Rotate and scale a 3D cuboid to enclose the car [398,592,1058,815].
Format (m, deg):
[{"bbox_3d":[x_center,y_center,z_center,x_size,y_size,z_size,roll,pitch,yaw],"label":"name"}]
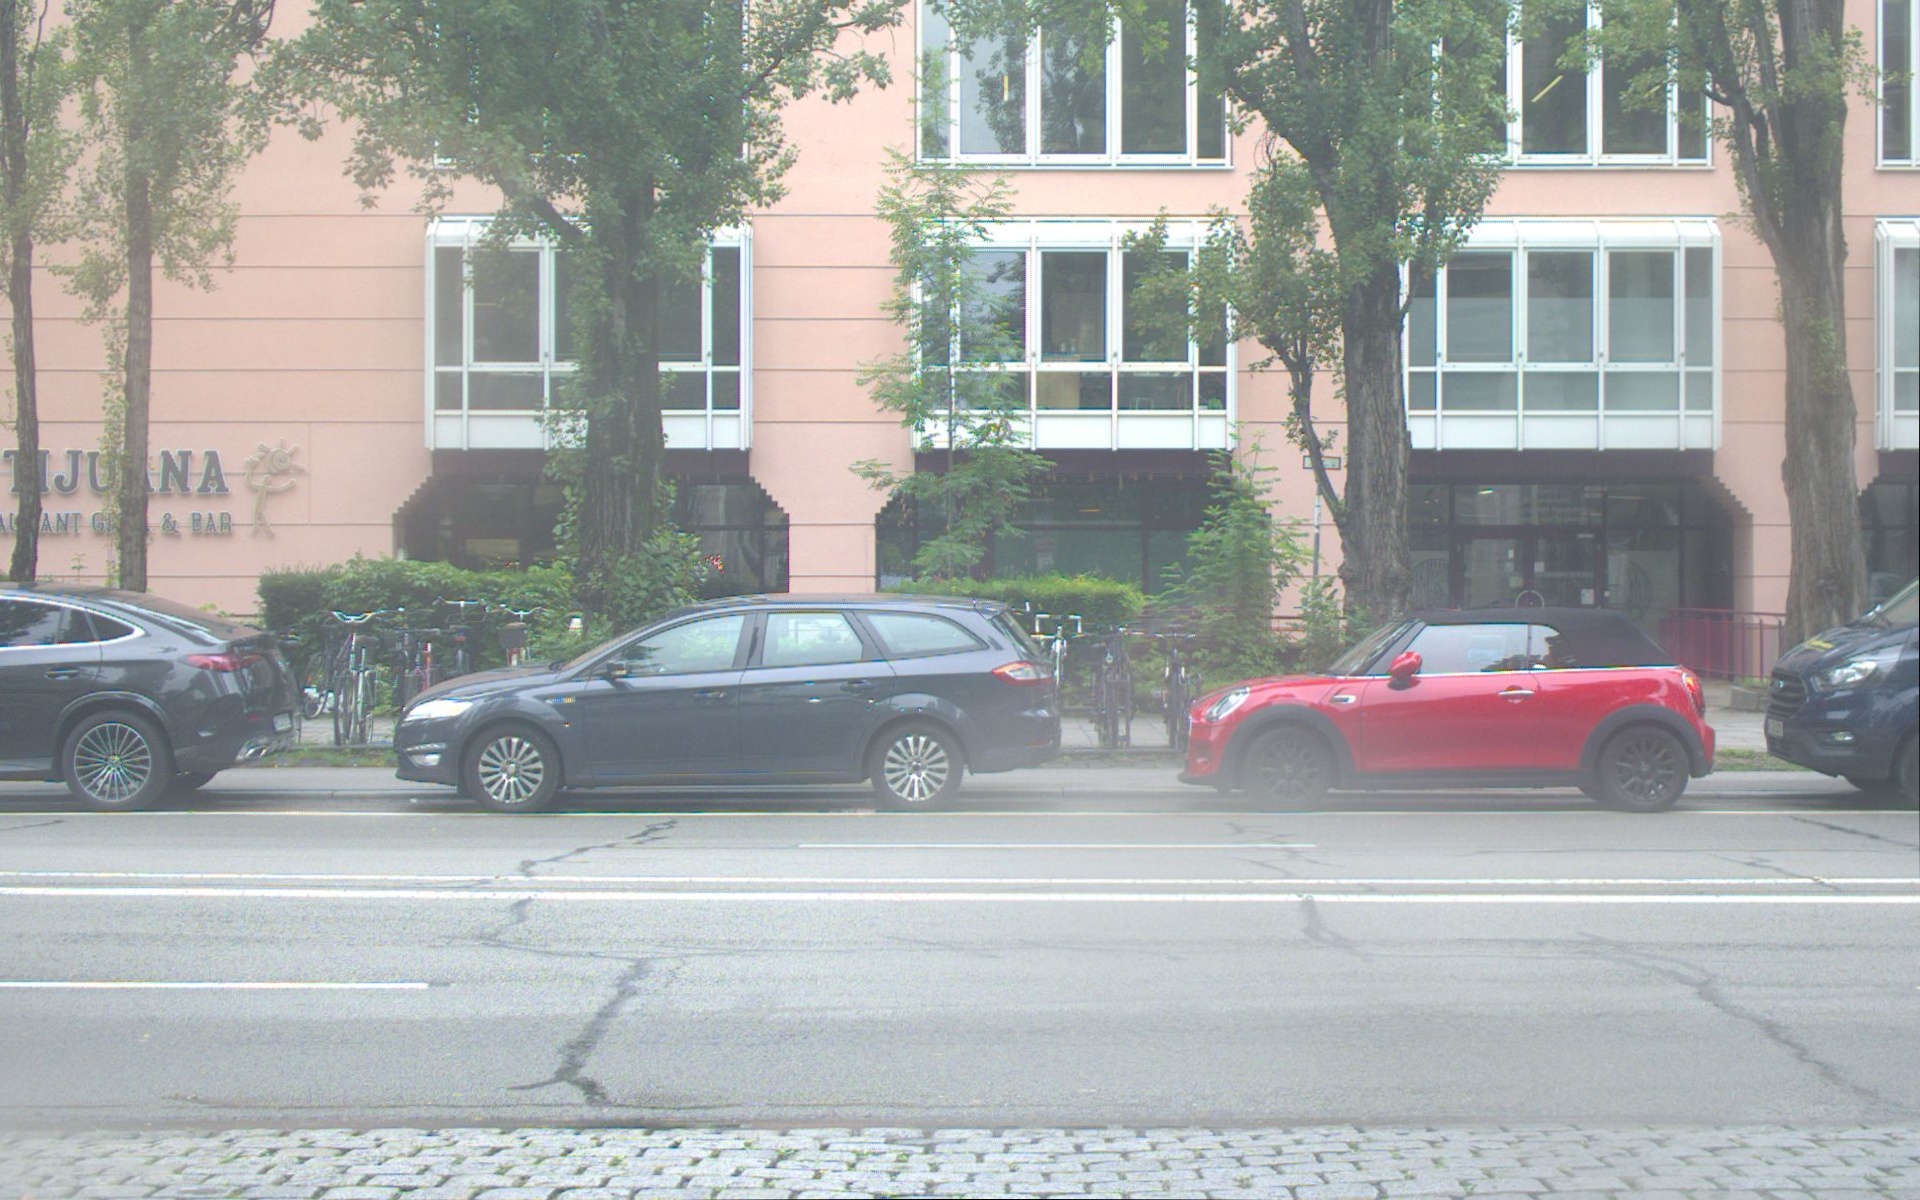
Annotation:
[{"bbox_3d":[-1.623,0.722,24.911,4.608,1.523,1.793,0,1,0],"label":"car"}]

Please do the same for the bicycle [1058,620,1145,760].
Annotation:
[{"bbox_3d":[1.193,0.748,29.235,0.674,1.120,1.742,0,1,0],"label":"bicycle"}]

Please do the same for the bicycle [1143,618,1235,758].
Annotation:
[{"bbox_3d":[1.935,0.726,29.201,0.674,1.120,1.742,0,1,0],"label":"bicycle"}]

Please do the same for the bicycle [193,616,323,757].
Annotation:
[{"bbox_3d":[-5.927,0.714,29.117,0.674,1.120,1.989,0,1,0],"label":"bicycle"}]

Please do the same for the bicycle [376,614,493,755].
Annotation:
[{"bbox_3d":[-4.441,0.693,29.167,0.674,1.120,1.989,0,1,0],"label":"bicycle"}]

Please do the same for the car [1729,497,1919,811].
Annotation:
[{"bbox_3d":[8.552,0.373,24.947,5.479,2.189,2.024,0,1,0],"label":"car"}]

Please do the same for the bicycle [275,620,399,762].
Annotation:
[{"bbox_3d":[-5.255,0.747,29.105,0.674,1.120,1.989,0,1,0],"label":"bicycle"}]

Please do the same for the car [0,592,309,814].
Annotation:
[{"bbox_3d":[-7.151,0.717,24.975,4.499,1.523,1.793,0,1,0],"label":"car"}]

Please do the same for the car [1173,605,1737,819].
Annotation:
[{"bbox_3d":[3.486,0.776,24.734,3.861,1.444,1.678,0,1,3],"label":"car"}]
